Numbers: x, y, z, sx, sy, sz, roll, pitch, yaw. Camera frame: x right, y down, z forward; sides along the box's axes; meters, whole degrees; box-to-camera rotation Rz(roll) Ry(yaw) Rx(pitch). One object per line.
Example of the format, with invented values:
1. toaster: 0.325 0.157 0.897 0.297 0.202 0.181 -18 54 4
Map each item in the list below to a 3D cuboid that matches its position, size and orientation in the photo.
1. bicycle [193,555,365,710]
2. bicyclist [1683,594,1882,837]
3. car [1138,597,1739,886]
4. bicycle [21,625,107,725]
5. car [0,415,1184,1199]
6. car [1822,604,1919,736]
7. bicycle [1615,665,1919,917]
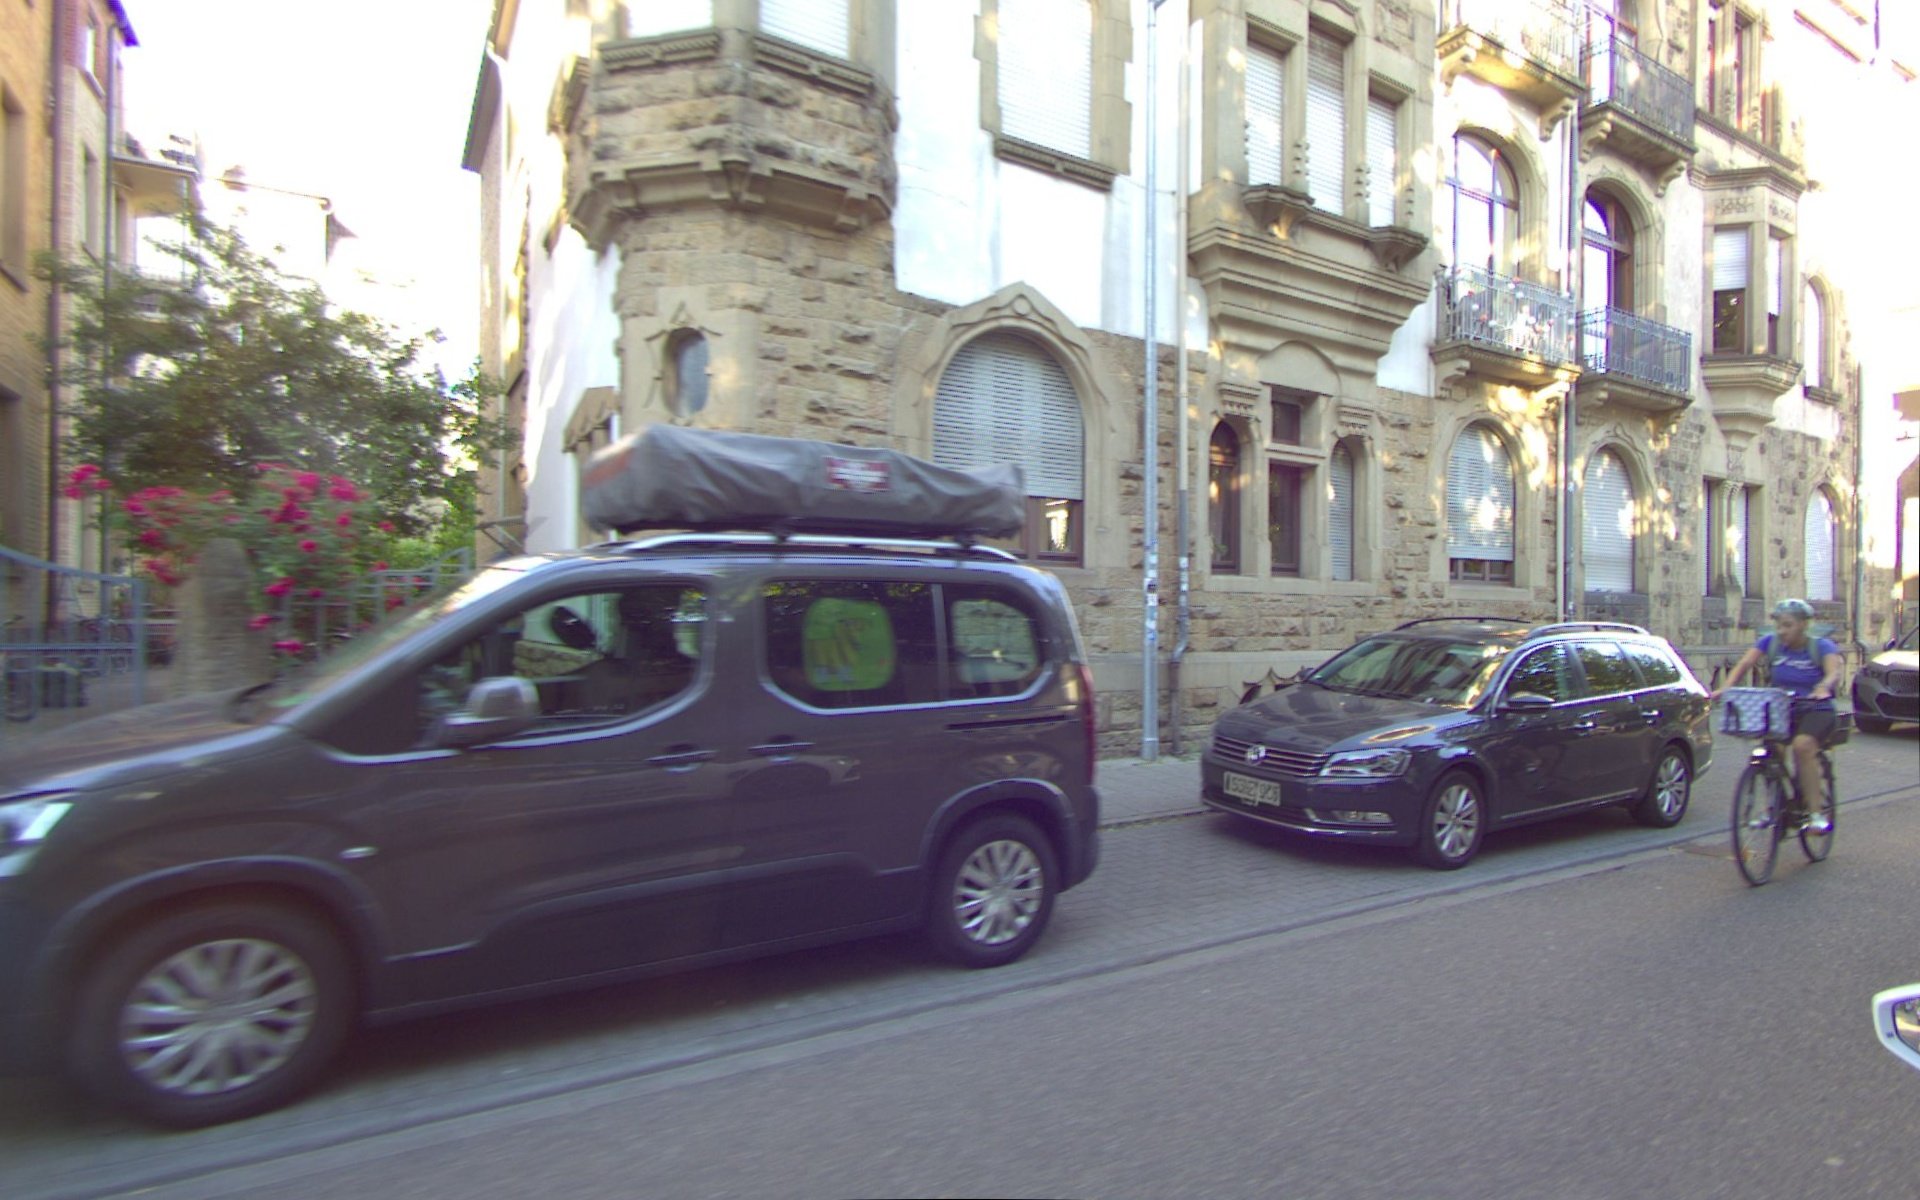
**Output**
1. bicycle: -9.611 0.447 14.317 0.996 2.040 2.196 0 -1 -3
2. bicyclist: 5.091 0.659 6.215 1.049 1.363 0.661 0 -2 -35
3. car: 3.691 0.867 7.472 4.653 1.595 1.721 2 -2 -30
4. bicycle: -10.909 0.864 12.283 0.605 1.093 2.333 1 -1 -38
5. car: -1.326 0.550 4.390 4.450 2.001 1.957 1 0 -33
6. car: 13.795 0.942 13.668 4.349 1.643 2.038 2 -2 -33
7. bicycle: 5.060 1.048 6.216 2.594 1.194 0.748 0 -2 -35
